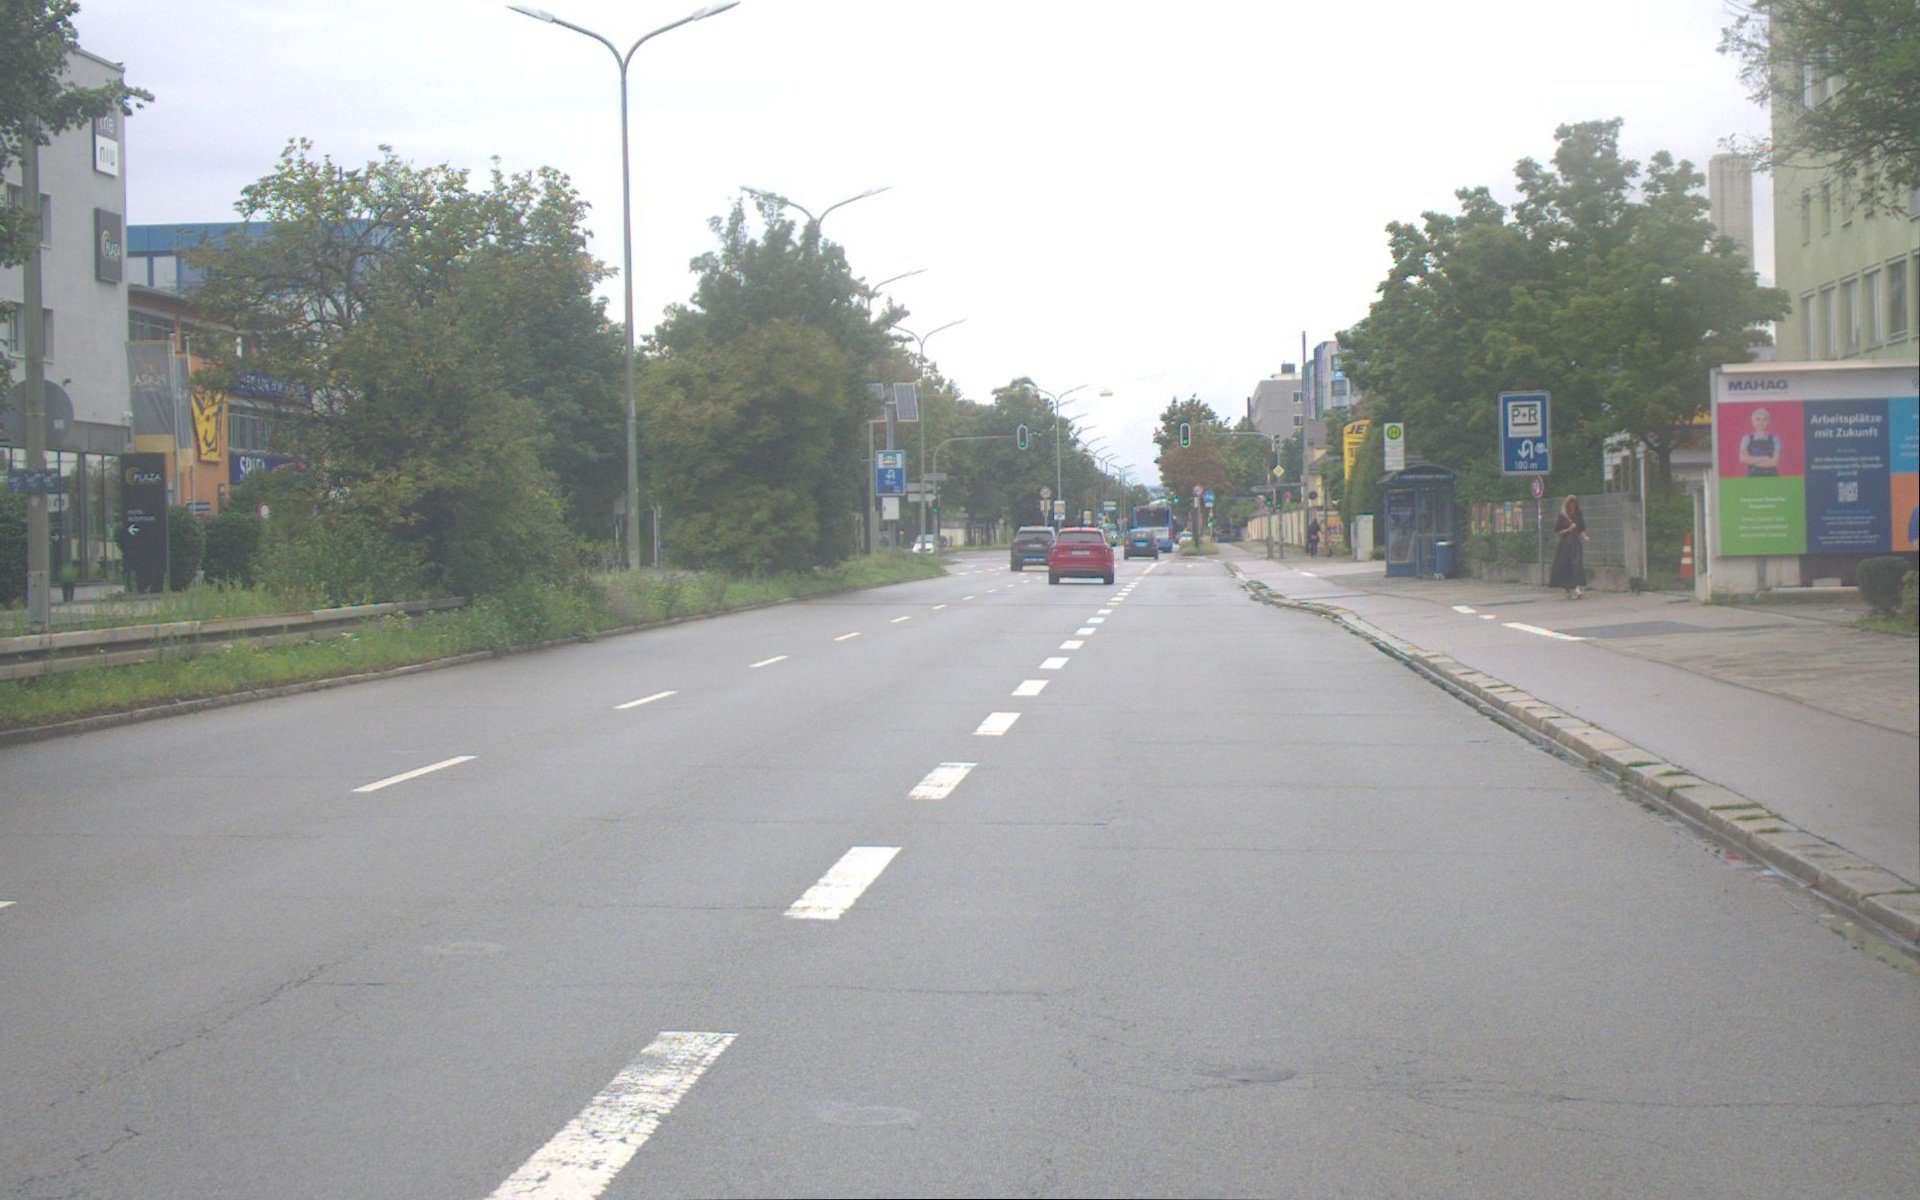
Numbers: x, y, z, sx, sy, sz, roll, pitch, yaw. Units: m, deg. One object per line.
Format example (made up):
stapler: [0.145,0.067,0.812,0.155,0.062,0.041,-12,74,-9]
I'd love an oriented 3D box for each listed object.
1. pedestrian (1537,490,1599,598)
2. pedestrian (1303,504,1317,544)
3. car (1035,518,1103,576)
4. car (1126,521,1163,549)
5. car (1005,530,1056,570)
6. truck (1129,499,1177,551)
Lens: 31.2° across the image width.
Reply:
pedestrian: [10.012,-0.926,56.637,0.758,1.722,0.895,-4,1,1]
pedestrian: [14.482,-3.149,142.259,0.483,1.630,0.590,-1,1,2]
car: [3.091,-1.493,97.452,1.862,1.612,4.000,0,1,2]
car: [9.570,-3.359,178.361,1.803,1.428,4.000,-1,1,2]
car: [2.635,-1.873,128.291,1.803,1.428,4.000,-1,1,2]
truck: [12.701,-4.936,226.510,2.969,3.274,7.915,-1,1,2]
